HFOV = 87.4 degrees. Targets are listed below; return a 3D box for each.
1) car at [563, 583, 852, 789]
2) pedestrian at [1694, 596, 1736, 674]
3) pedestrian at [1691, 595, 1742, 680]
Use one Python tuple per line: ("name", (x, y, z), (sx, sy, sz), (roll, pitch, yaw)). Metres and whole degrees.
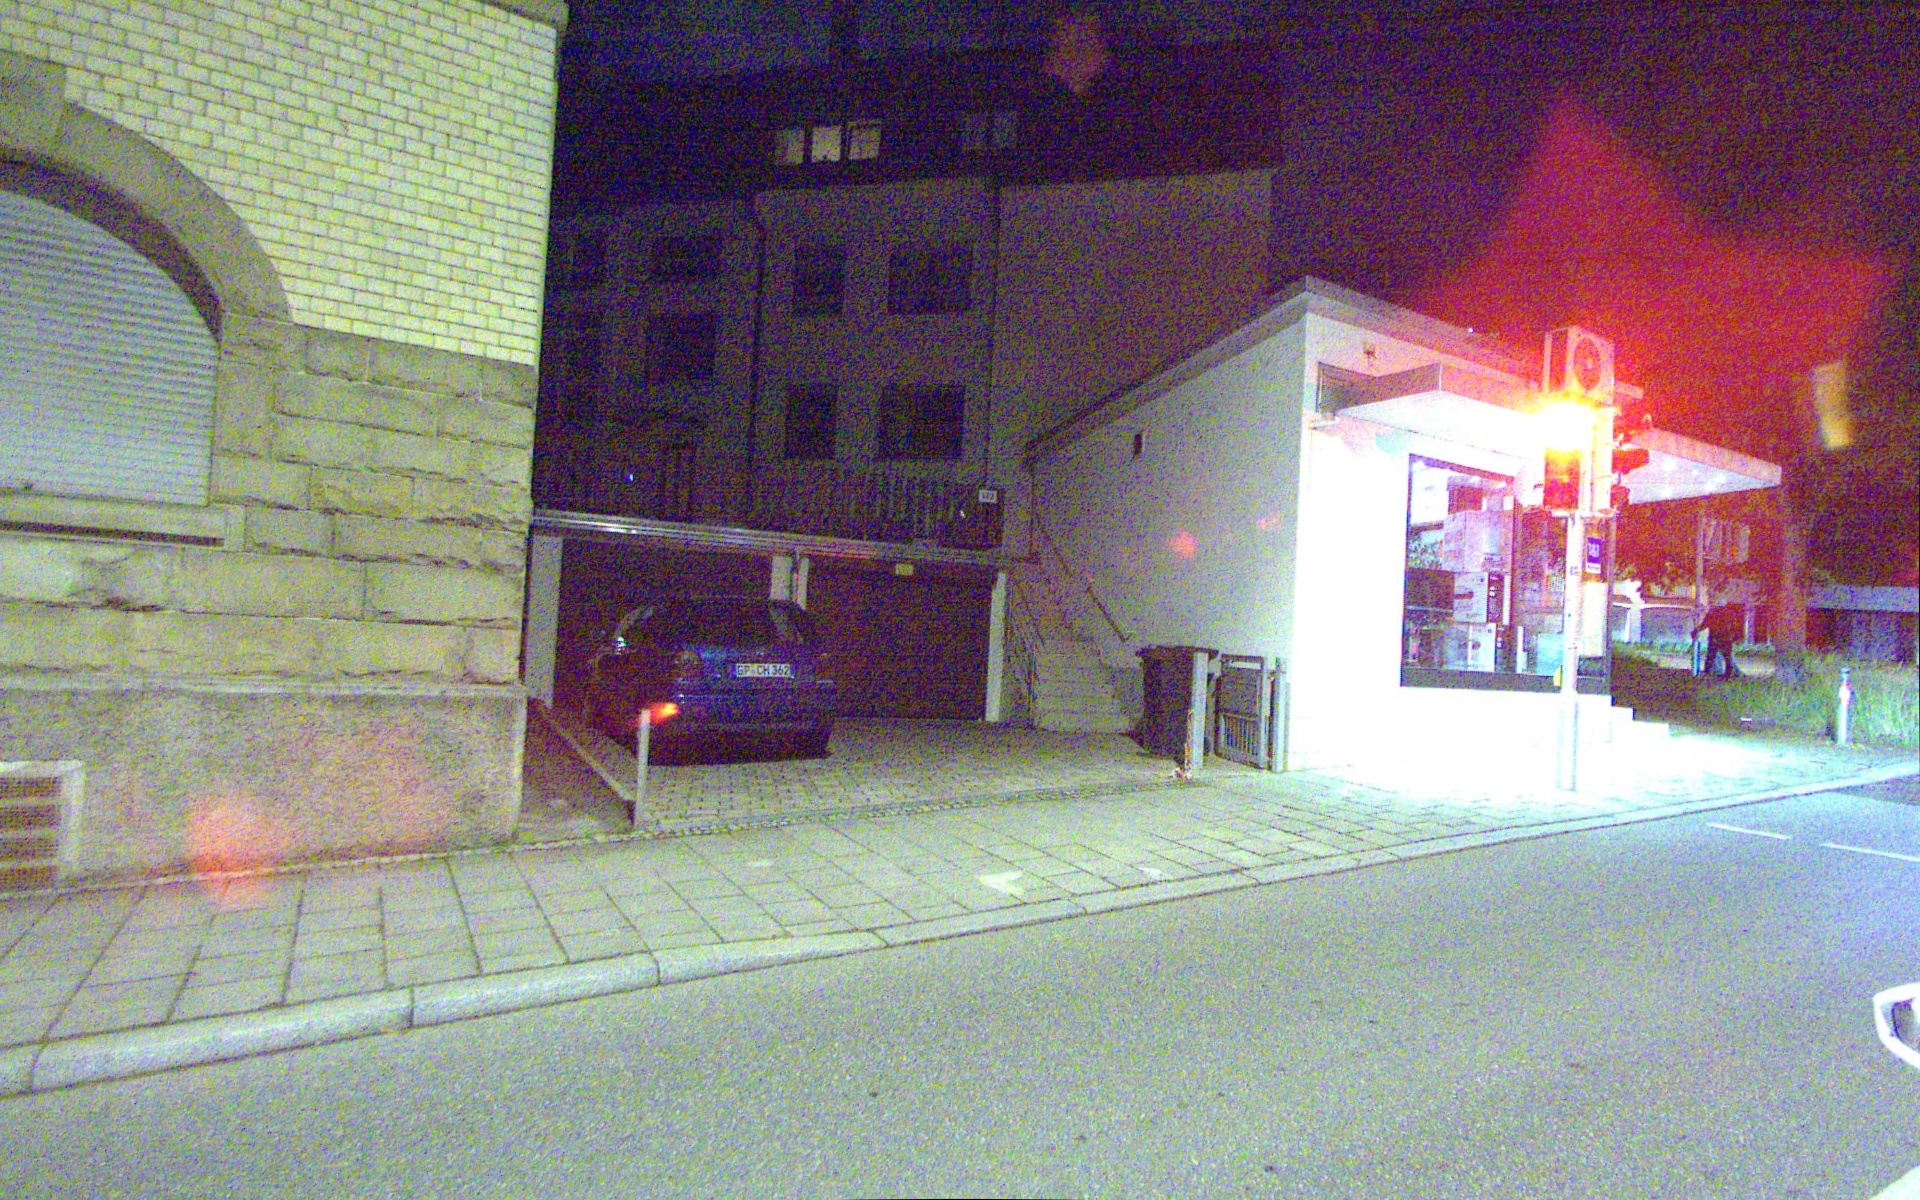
("car", (-2.568, 0.647, 9.548), (1.700, 1.460, 3.631), (2, 1, -30))
("pedestrian", (17.286, 0.800, 23.007), (0.537, 1.754, 0.567), (2, 0, -30))
("pedestrian", (16.607, 0.822, 22.050), (0.729, 1.801, 0.567), (2, 2, -30))
